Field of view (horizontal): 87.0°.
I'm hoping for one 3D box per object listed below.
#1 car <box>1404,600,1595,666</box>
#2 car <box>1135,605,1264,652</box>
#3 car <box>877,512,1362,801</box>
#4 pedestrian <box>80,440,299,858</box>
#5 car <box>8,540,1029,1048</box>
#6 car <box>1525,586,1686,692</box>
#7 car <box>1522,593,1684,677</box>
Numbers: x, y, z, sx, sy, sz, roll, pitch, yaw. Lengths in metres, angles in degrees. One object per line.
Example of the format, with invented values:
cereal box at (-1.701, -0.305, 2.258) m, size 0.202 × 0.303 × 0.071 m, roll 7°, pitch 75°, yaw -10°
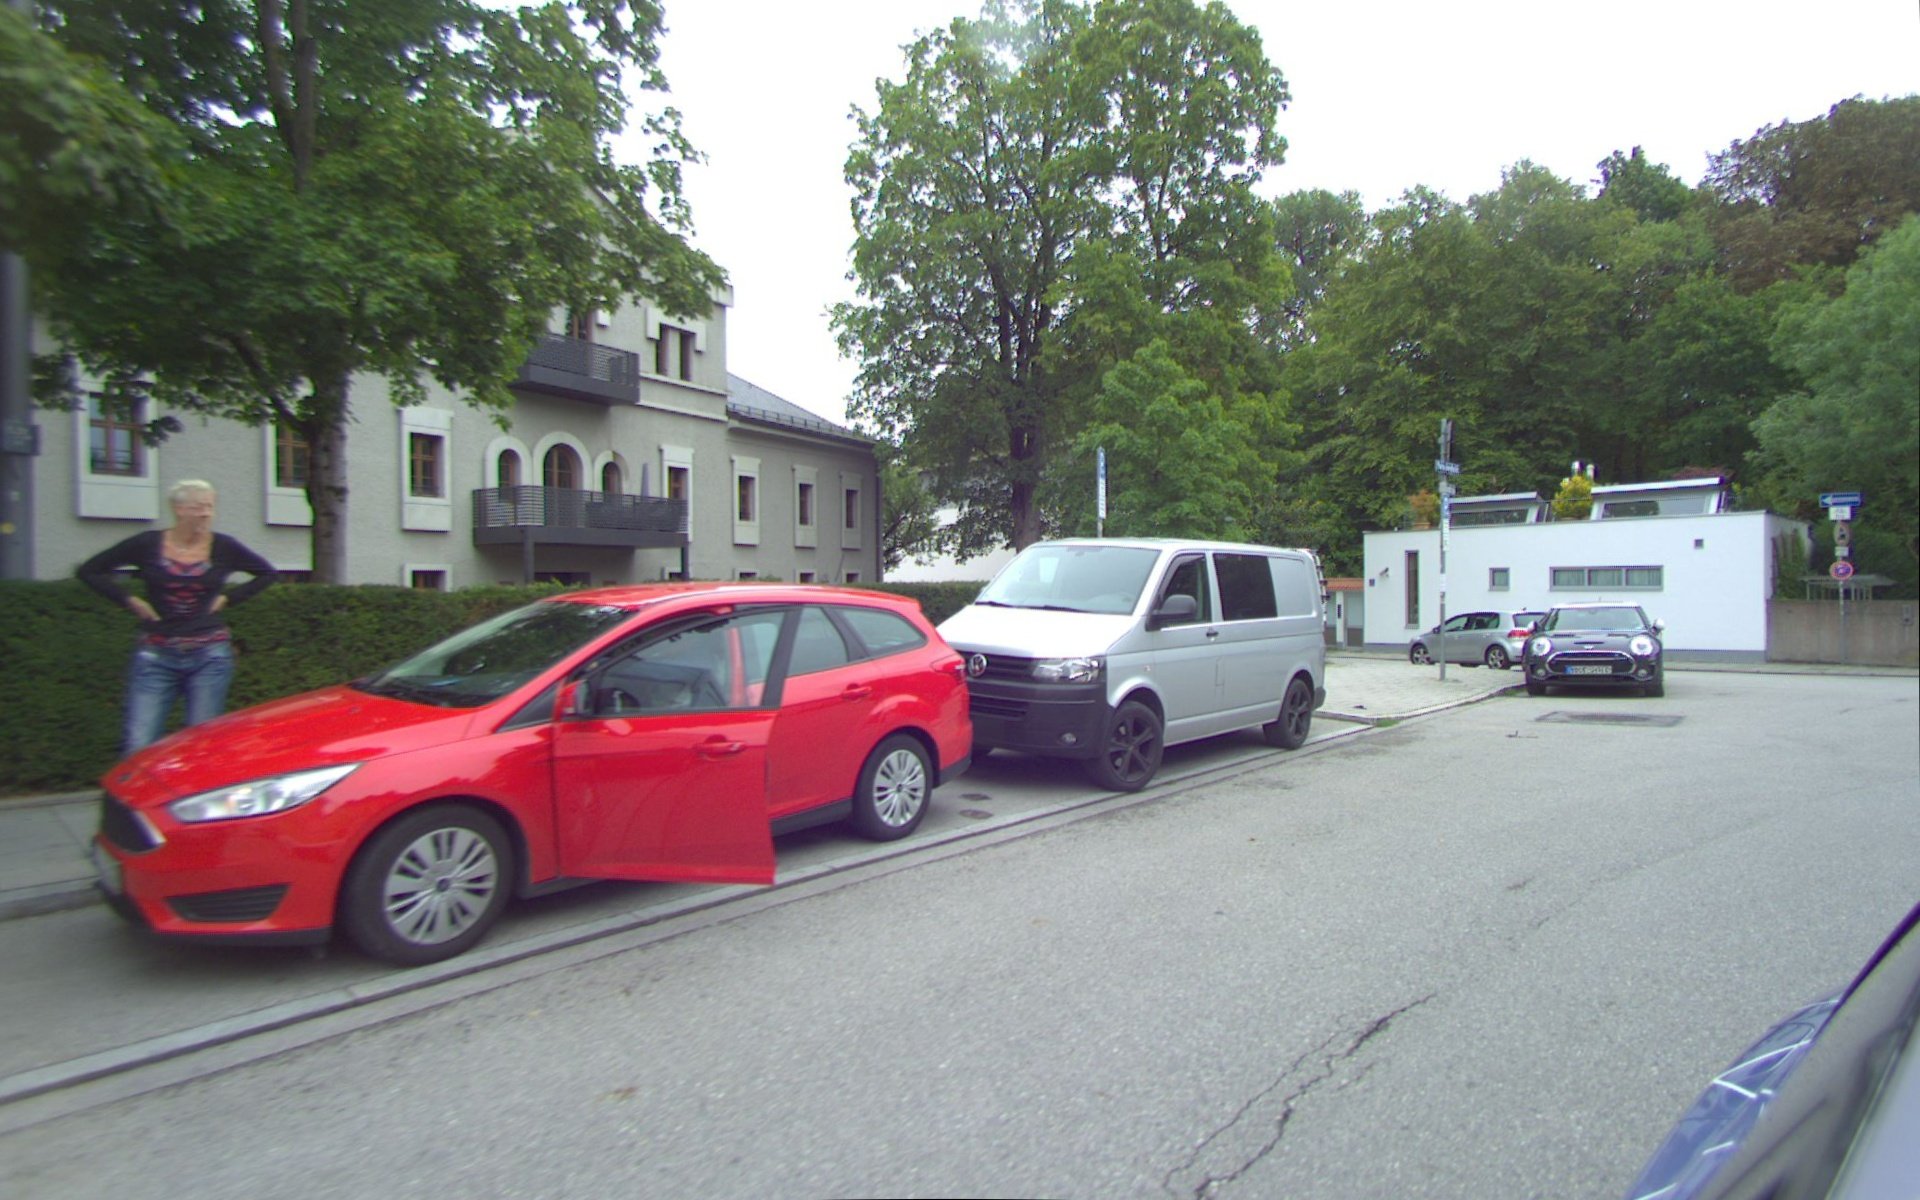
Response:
car at (13.108, 0.806, 24.896) m, size 1.900 × 1.465 × 4.021 m, roll 2°, pitch -2°, yaw -14°
car at (8.051, 0.907, 34.308) m, size 1.904 × 1.465 × 4.015 m, roll 0°, pitch 0°, yaw -34°
car at (1.739, 0.319, 9.268) m, size 1.934 × 1.928 × 4.994 m, roll 3°, pitch 3°, yaw 42°
pedestrian at (-4.000, 0.225, 5.252) m, size 0.850 × 1.928 × 0.796 m, roll 0°, pitch -1°, yaw -42°
car at (-1.792, 0.543, 5.511) m, size 1.869 × 1.525 × 4.768 m, roll 3°, pitch 2°, yaw 40°
car at (10.361, 0.590, 16.181) m, size 1.885 × 1.465 × 4.215 m, roll -2°, pitch -2°, yaw 35°
car at (12.561, 0.690, 20.058) m, size 1.874 × 1.465 × 3.985 m, roll -2°, pitch -2°, yaw 21°
